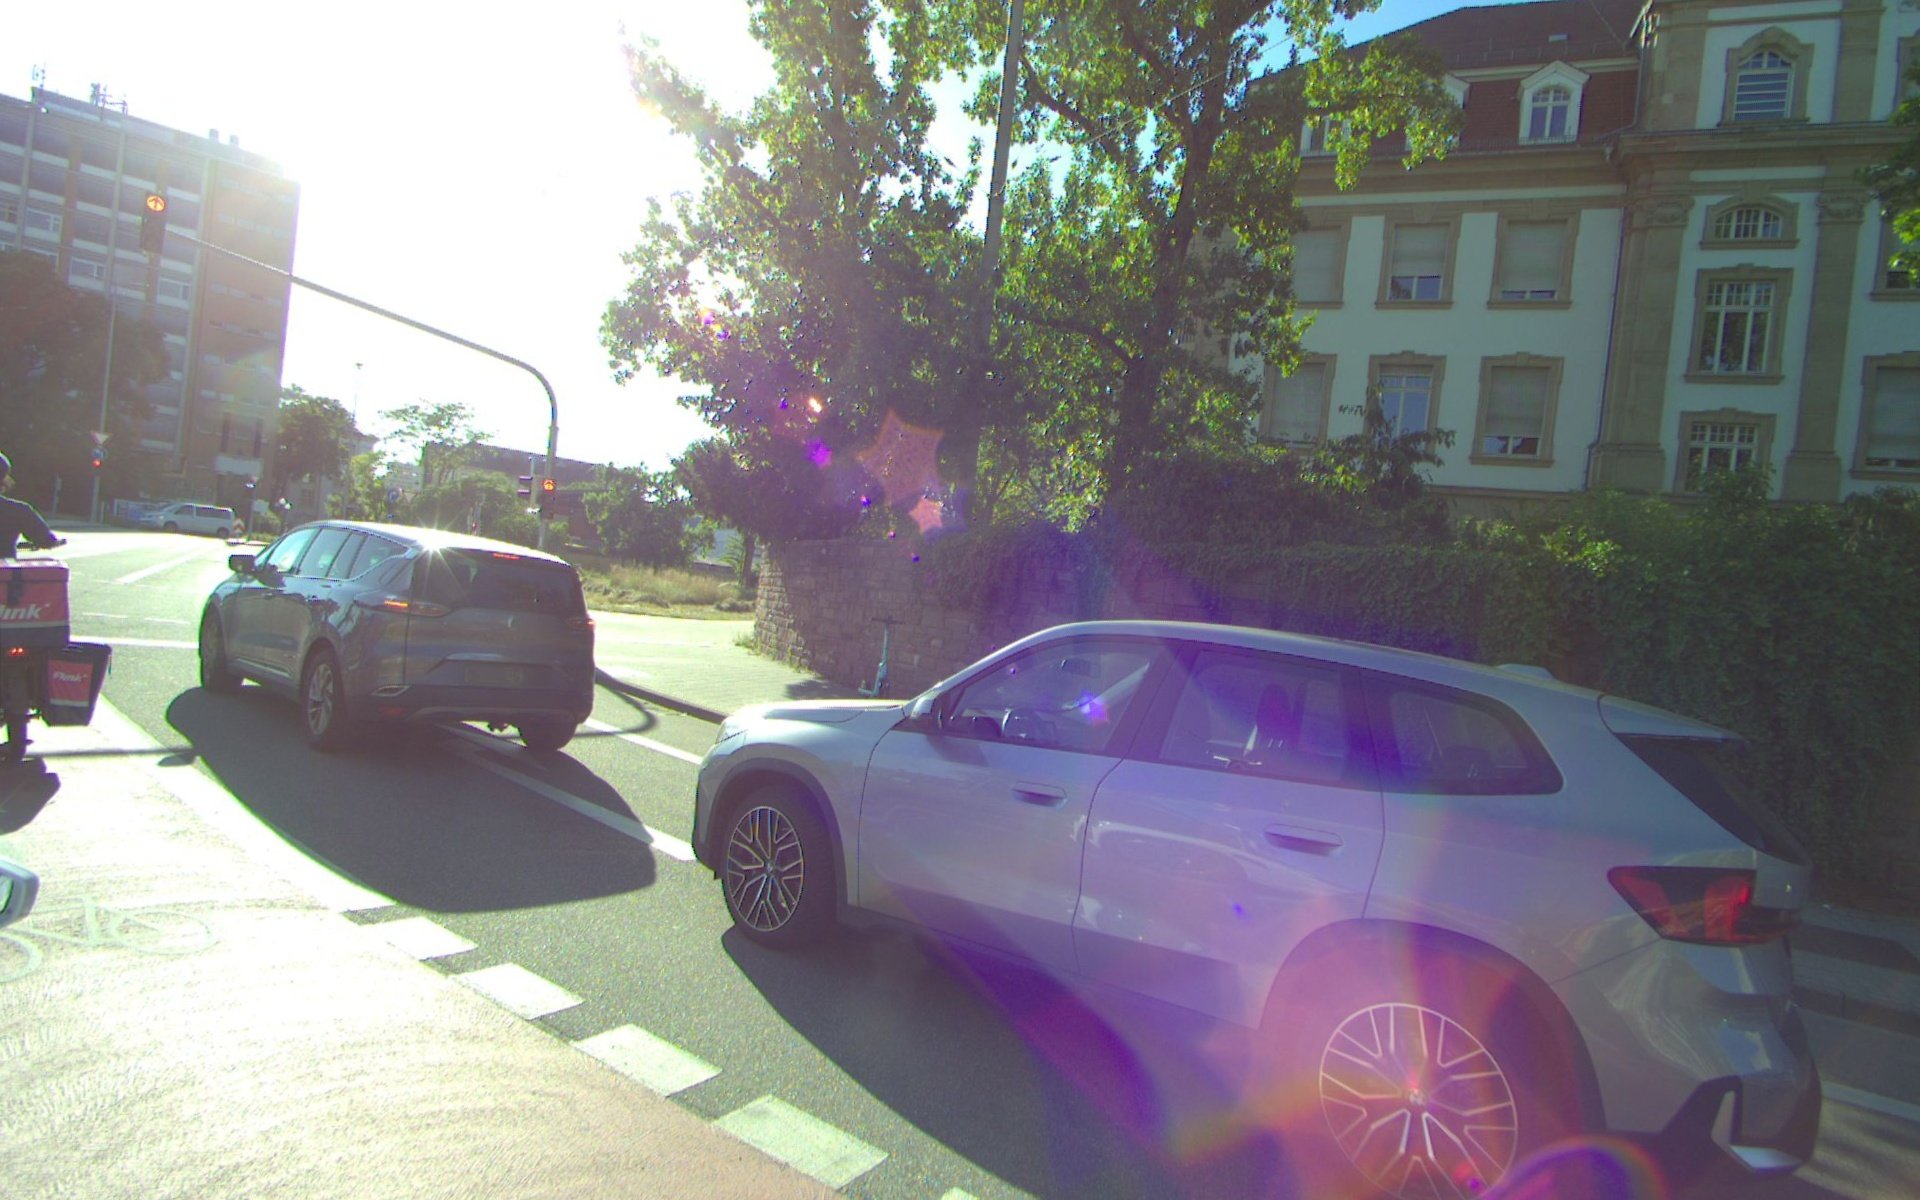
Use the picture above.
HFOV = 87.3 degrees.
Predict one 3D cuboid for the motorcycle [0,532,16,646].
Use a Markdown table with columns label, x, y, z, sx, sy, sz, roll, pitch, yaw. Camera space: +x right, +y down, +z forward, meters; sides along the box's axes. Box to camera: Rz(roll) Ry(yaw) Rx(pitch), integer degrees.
| label | x | y | z | sx | sy | sz | roll | pitch | yaw |
| --- | --- | --- | --- | --- | --- | --- | --- | --- | --- |
| motorcycle | -8.935 | -0.081 | 8.919 | 0.611 | 1.110 | 2.334 | 8 | -2 | -41 |

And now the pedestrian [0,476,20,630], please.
| label | x | y | z | sx | sy | sz | roll | pitch | yaw |
| --- | --- | --- | --- | --- | --- | --- | --- | --- | --- |
| pedestrian | -8.711 | -0.300 | 8.746 | 0.585 | 1.617 | 1.013 | 8 | -1 | -41 |

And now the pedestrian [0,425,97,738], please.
| label | x | y | z | sx | sy | sz | roll | pitch | yaw |
| --- | --- | --- | --- | --- | --- | --- | --- | --- | --- |
| pedestrian | -6.216 | -0.146 | 6.391 | 0.943 | 1.890 | 0.806 | 6 | -1 | 40 |

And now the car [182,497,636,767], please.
| label | x | y | z | sx | sy | sz | roll | pitch | yaw |
| --- | --- | --- | --- | --- | --- | --- | --- | --- | --- |
| car | -4.837 | 0.164 | 8.553 | 4.307 | 1.709 | 1.830 | 6 | -2 | 40 |

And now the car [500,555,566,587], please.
| label | x | y | z | sx | sy | sz | roll | pitch | yaw |
| --- | --- | --- | --- | --- | --- | --- | --- | --- | --- |
| car | -33.952 | -2.321 | 79.940 | 4.647 | 1.969 | 1.903 | 7 | 0 | -25 |

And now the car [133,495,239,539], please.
| label | x | y | z | sx | sy | sz | roll | pitch | yaw |
| --- | --- | --- | --- | --- | --- | --- | --- | --- | --- |
| car | -47.359 | -5.075 | 61.651 | 1.880 | 1.969 | 4.703 | 7 | 0 | 23 |

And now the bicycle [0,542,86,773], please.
| label | x | y | z | sx | sy | sz | roll | pitch | yaw |
| --- | --- | --- | --- | --- | --- | --- | --- | --- | --- |
| bicycle | -5.991 | 0.257 | 6.176 | 2.340 | 1.185 | 0.553 | 6 | -2 | 42 |

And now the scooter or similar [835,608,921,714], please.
| label | x | y | z | sx | sy | sz | roll | pitch | yaw |
| --- | --- | --- | --- | --- | --- | --- | --- | --- | --- |
| scooter or similar | -1.155 | 0.820 | 13.880 | 0.569 | 1.285 | 1.414 | 6 | 0 | -27 |

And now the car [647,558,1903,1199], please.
| label | x | y | z | sx | sy | sz | roll | pitch | yaw |
| --- | --- | --- | --- | --- | --- | --- | --- | --- | --- |
| car | 0.826 | 0.883 | 4.241 | 4.263 | 1.612 | 1.788 | 6 | -2 | 37 |
